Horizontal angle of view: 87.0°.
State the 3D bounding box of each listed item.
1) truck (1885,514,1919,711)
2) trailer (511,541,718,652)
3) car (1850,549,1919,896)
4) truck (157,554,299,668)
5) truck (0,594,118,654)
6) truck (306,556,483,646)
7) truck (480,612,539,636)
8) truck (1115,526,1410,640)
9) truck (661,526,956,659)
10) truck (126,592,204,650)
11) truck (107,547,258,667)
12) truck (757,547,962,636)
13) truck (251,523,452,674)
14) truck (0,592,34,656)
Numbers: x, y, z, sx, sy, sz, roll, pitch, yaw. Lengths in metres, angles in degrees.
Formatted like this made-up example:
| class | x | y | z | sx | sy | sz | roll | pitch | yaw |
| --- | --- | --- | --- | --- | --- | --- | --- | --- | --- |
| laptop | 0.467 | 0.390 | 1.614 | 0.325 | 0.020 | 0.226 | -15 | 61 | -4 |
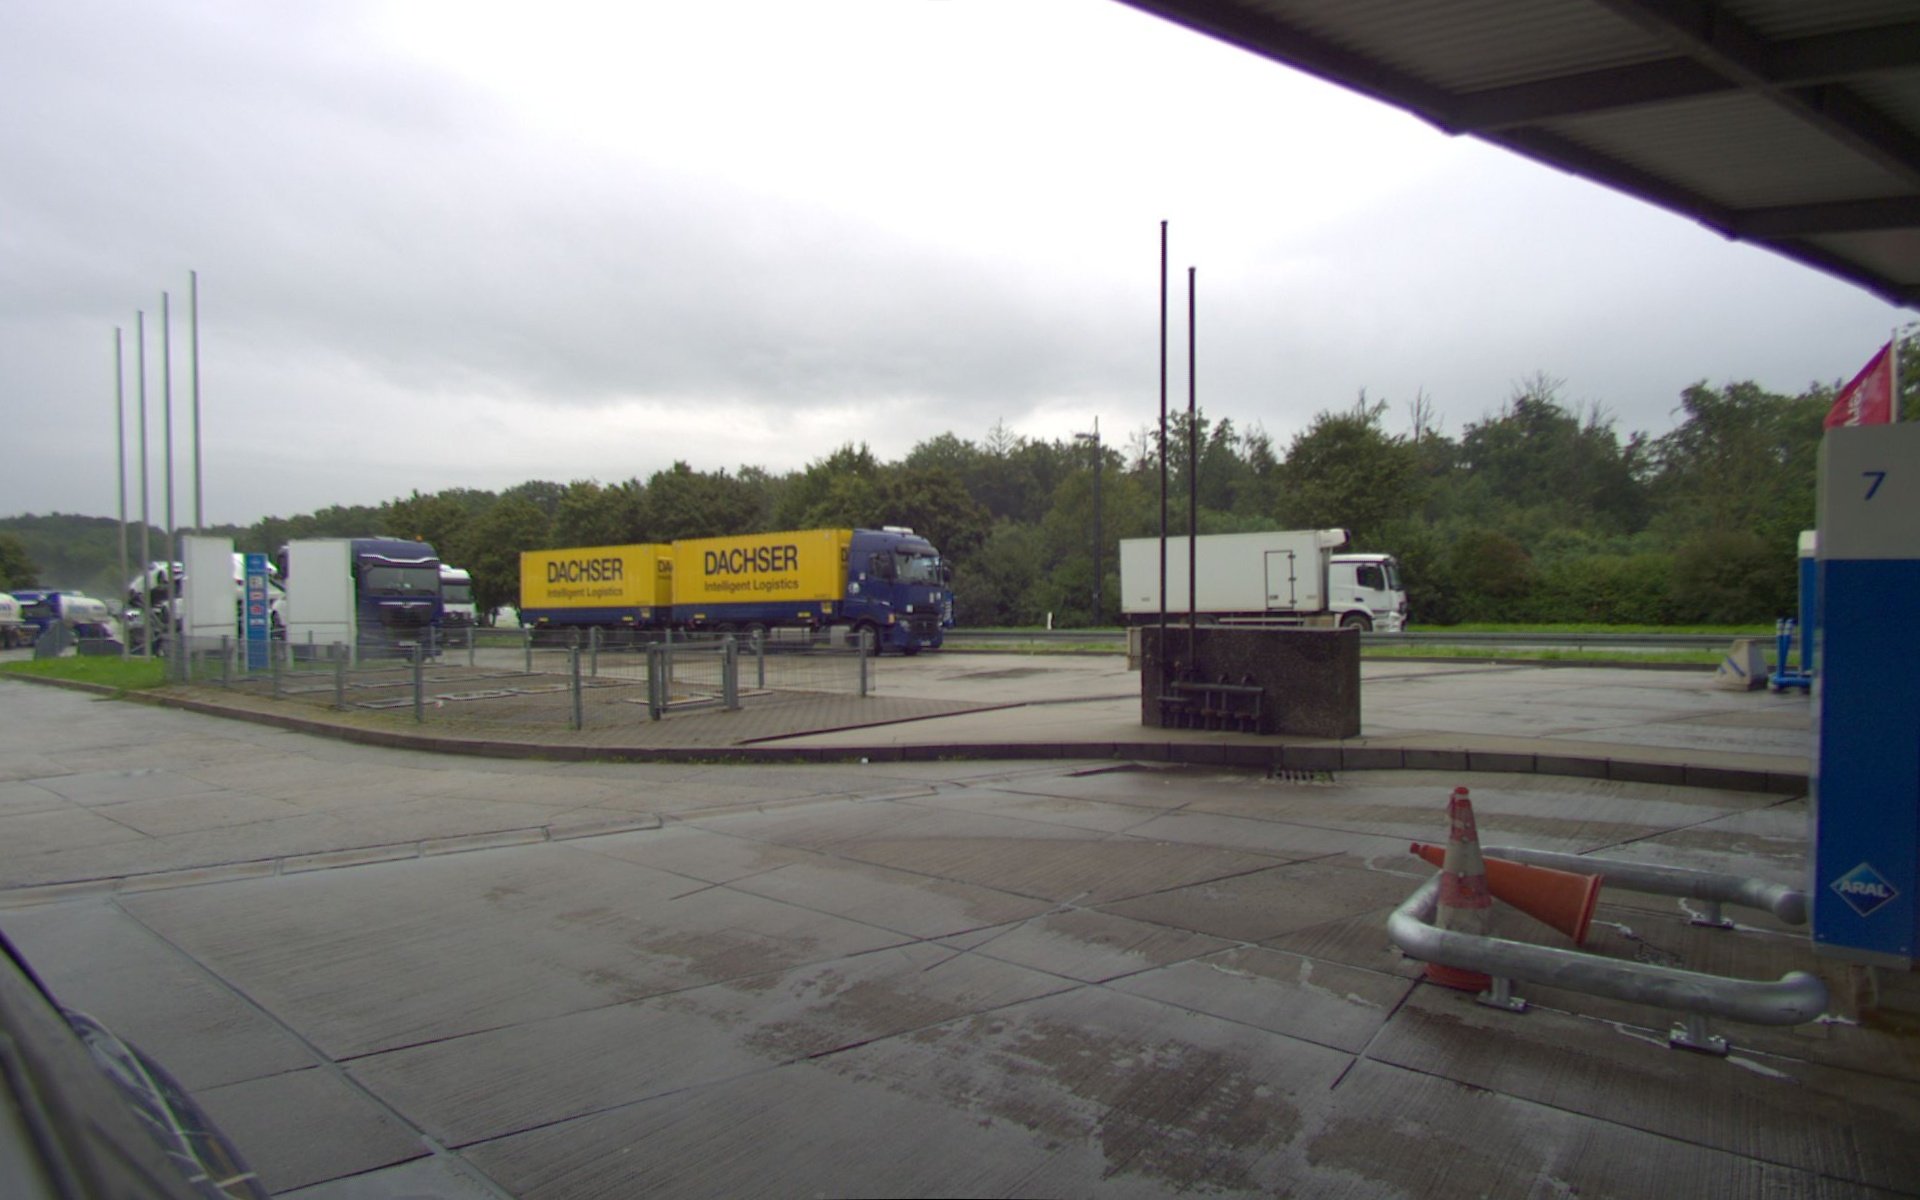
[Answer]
| class | x | y | z | sx | sy | sz | roll | pitch | yaw |
| --- | --- | --- | --- | --- | --- | --- | --- | --- | --- |
| truck | 14.979 | 0.121 | 11.969 | 5.859 | 2.513 | 2.208 | -1 | 0 | 41 |
| trailer | -13.513 | -0.079 | 39.272 | 8.679 | 3.946 | 2.728 | -1 | 0 | 32 |
| car | 6.897 | 0.540 | 3.814 | 5.269 | 1.620 | 1.842 | -1 | 0 | 41 |
| truck | -26.121 | 0.389 | 36.087 | 4.738 | 3.800 | 2.635 | -1 | 0 | 34 |
| truck | -61.509 | 1.613 | 68.669 | 3.454 | 3.633 | 14.709 | -1 | -1 | -27 |
| truck | -27.333 | 0.097 | 48.642 | 10.654 | 3.946 | 2.727 | -1 | 0 | 33 |
| truck | -42.367 | 2.214 | 95.153 | 5.810 | 2.140 | 2.061 | -1 | 0 | 31 |
| truck | 10.955 | -0.523 | 37.463 | 10.195 | 3.836 | 2.395 | -1 | 0 | 31 |
| truck | -5.351 | -0.184 | 34.043 | 10.654 | 3.946 | 2.727 | -1 | 0 | 33 |
| truck | -60.952 | 1.521 | 77.480 | 11.525 | 4.160 | 3.101 | -1 | 0 | 44 |
| truck | -29.603 | 0.293 | 38.460 | 6.605 | 4.213 | 2.635 | -1 | 0 | 35 |
| truck | -4.893 | -0.321 | 47.658 | 10.195 | 3.836 | 2.395 | -1 | 0 | 31 |
| truck | -19.023 | 0.006 | 31.491 | 7.089 | 4.213 | 2.635 | -1 | 0 | 35 |
| truck | -55.170 | 1.331 | 53.702 | 3.454 | 3.633 | 14.444 | -1 | -1 | -19 |
